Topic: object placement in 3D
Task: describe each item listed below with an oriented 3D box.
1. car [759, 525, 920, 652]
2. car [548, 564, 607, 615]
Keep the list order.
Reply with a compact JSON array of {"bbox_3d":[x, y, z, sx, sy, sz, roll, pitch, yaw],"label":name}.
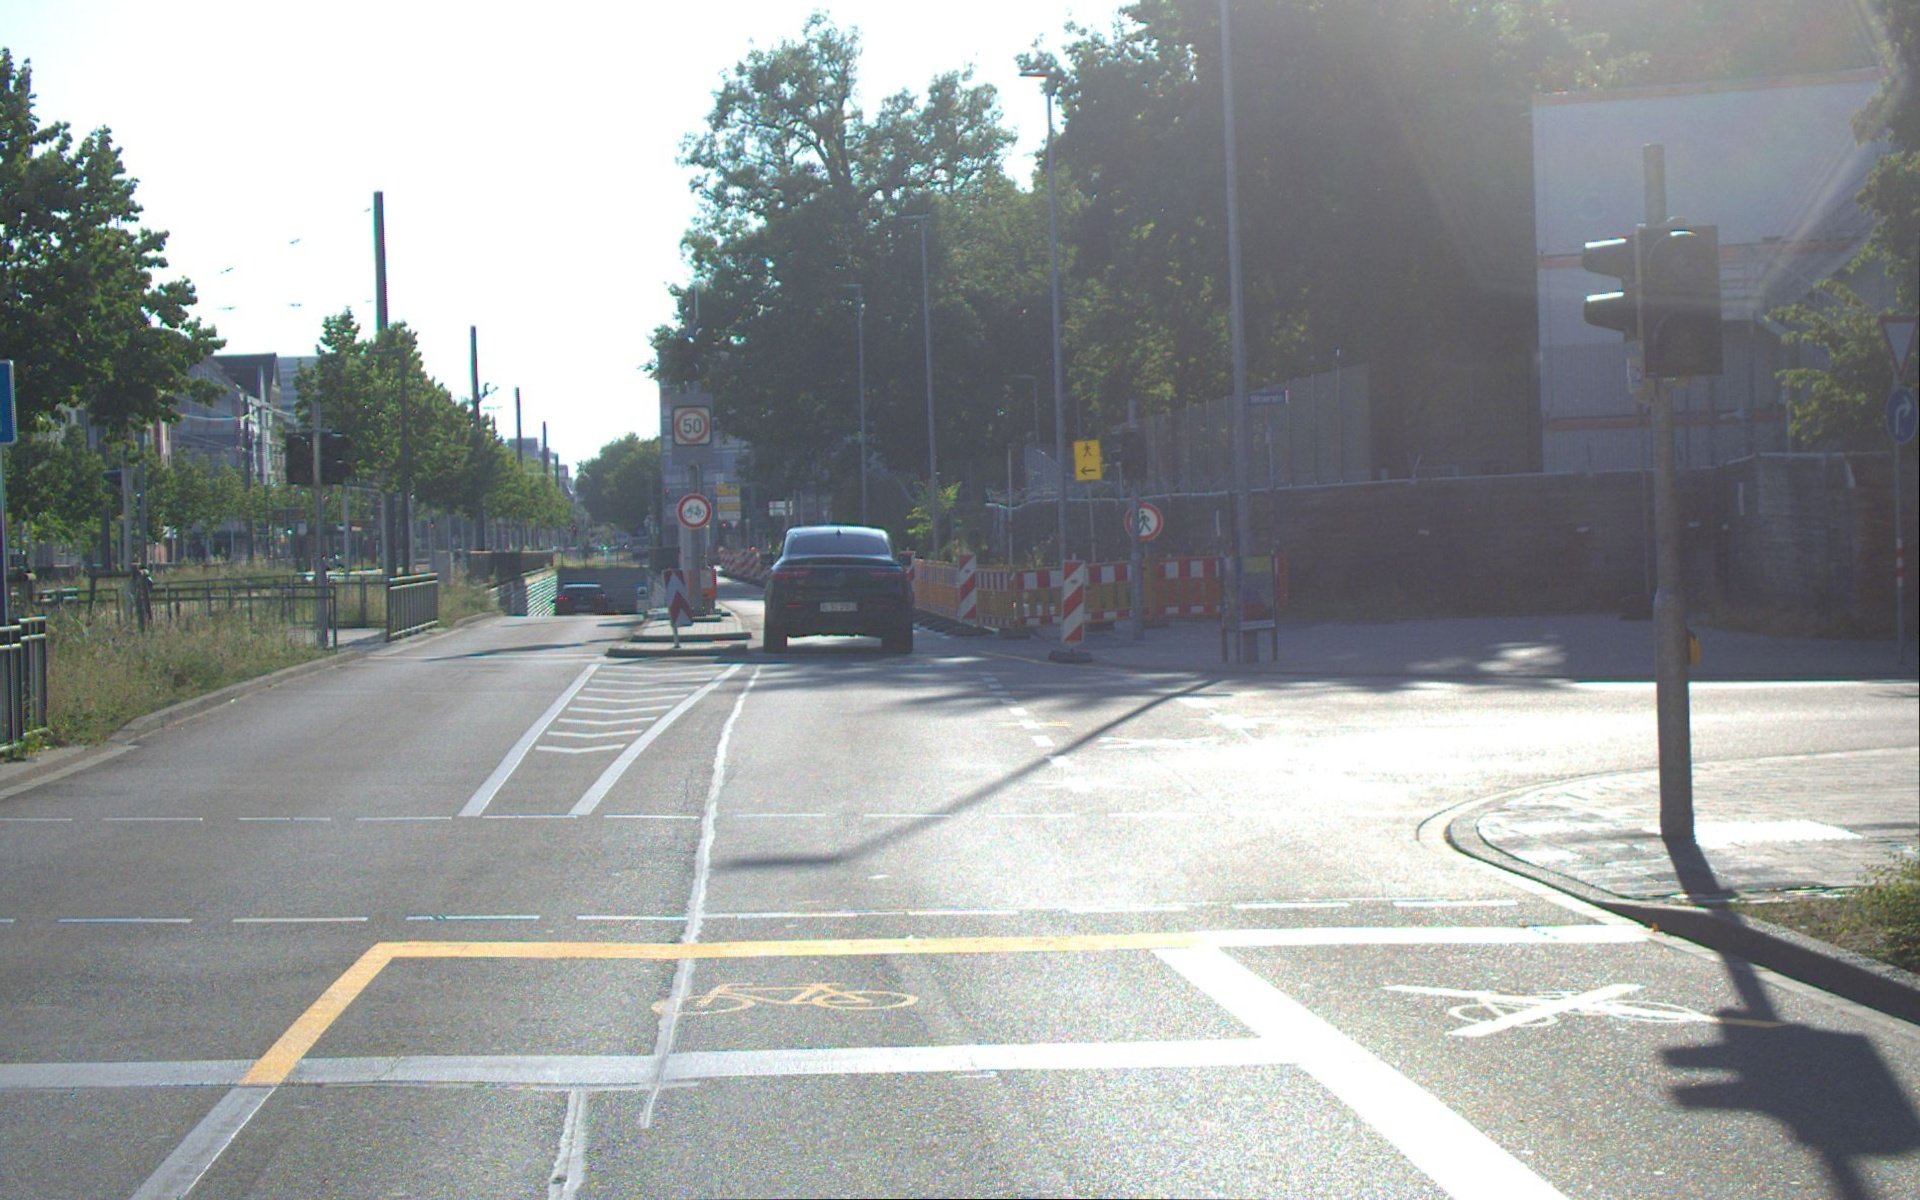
[{"bbox_3d":[-1.699,-0.169,47.092,2.005,1.653,4.001,0,0,-5],"label":"car"},{"bbox_3d":[-12.578,-0.363,113.259,1.826,1.653,4.001,0,0,-5],"label":"car"}]
